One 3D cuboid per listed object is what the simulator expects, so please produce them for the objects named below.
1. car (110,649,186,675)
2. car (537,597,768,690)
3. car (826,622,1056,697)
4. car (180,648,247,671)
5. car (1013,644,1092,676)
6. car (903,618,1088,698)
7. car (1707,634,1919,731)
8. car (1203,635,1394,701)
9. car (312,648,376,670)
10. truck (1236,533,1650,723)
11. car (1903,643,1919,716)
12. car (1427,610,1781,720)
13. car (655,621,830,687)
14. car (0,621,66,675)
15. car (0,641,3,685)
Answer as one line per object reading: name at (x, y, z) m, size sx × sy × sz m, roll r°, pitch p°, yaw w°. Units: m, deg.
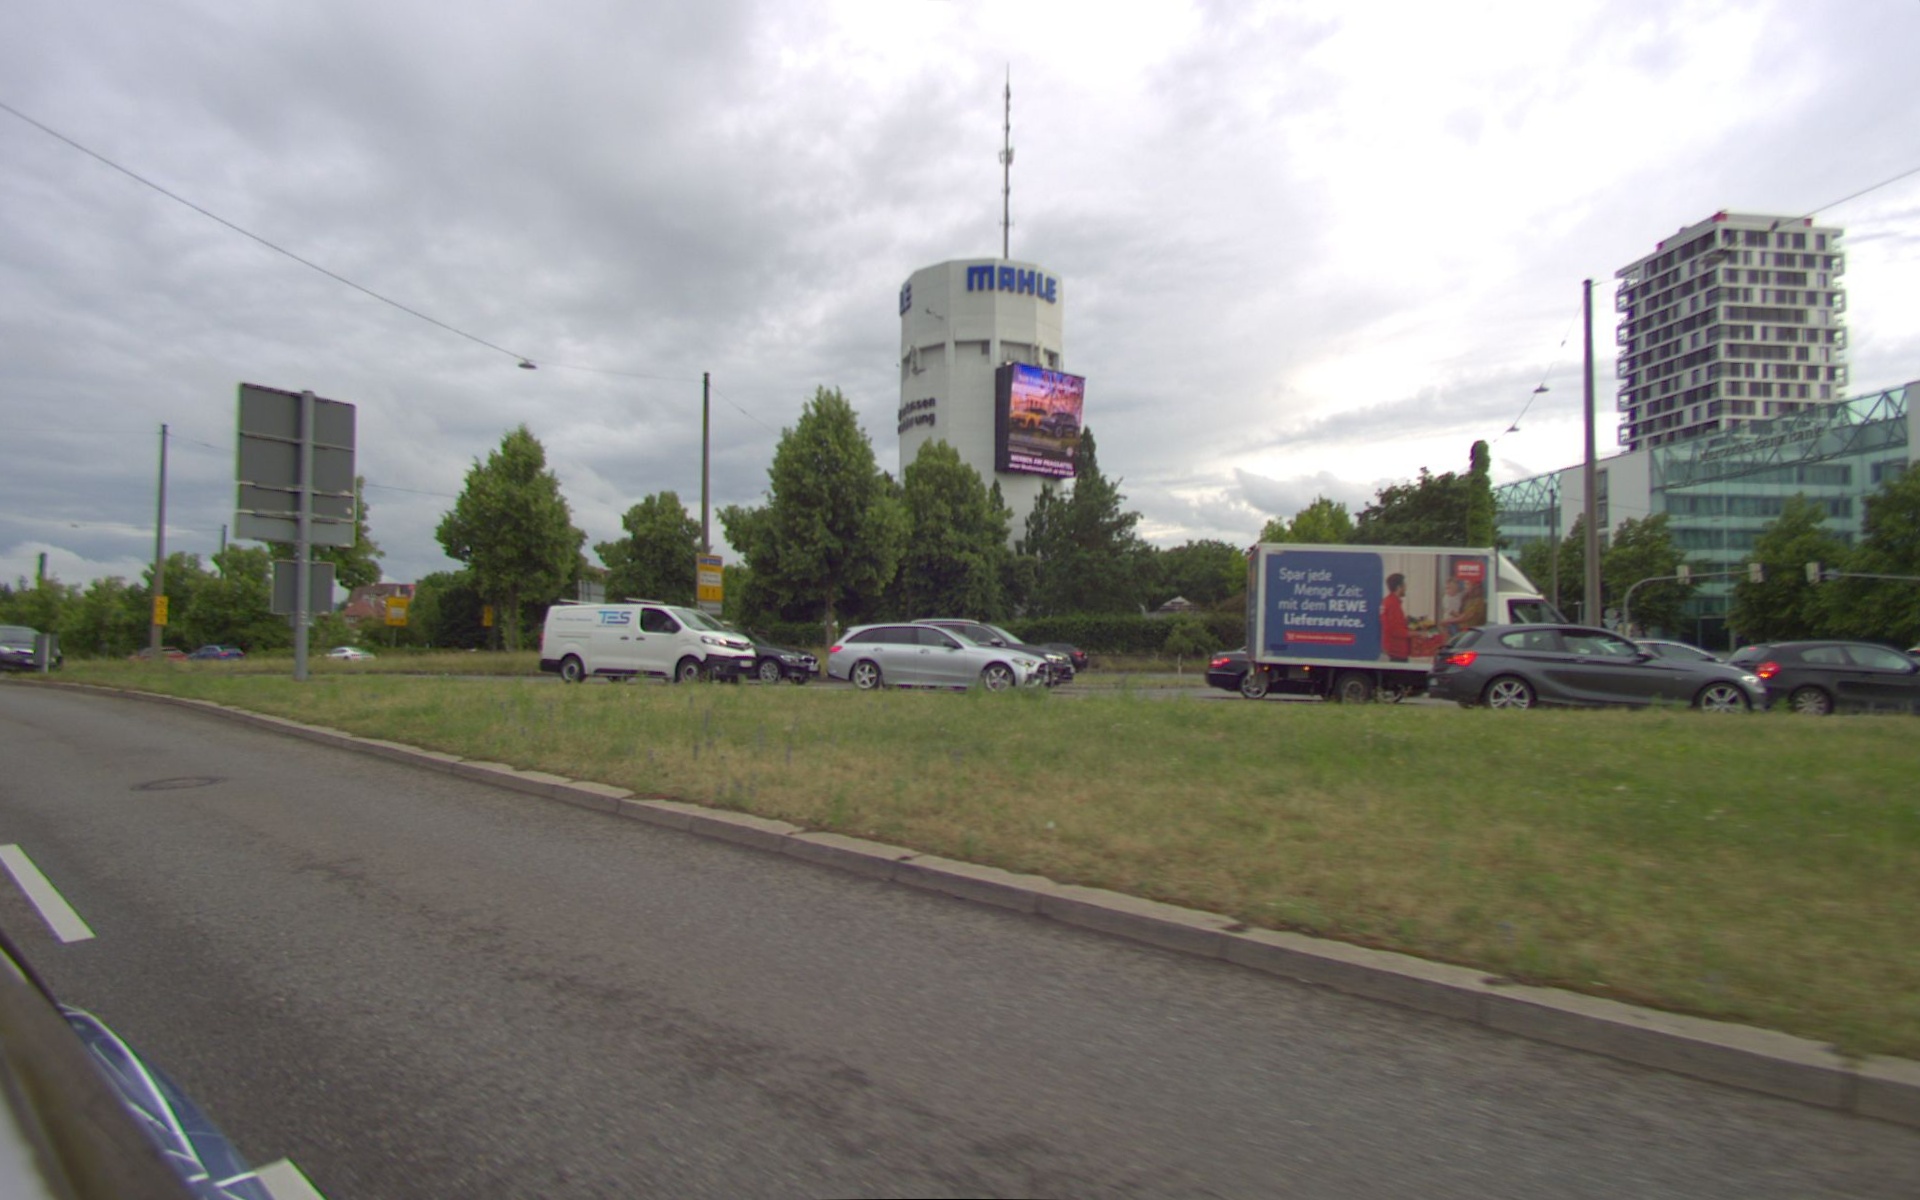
car at (-51.336, 3.925, 63.979) m, size 3.967 × 1.543 × 1.903 m, roll -2°, pitch -3°, yaw 18°
car at (-7.153, 1.023, 23.558) m, size 5.056 × 1.988 × 1.897 m, roll -1°, pitch -4°, yaw 21°
car at (-0.380, 1.254, 21.184) m, size 4.485 × 1.446 × 1.832 m, roll -1°, pitch -4°, yaw 19°
car at (-50.158, 4.008, 68.006) m, size 3.956 × 1.453 × 1.868 m, roll -2°, pitch -3°, yaw 24°
car at (4.691, 3.011, 51.372) m, size 3.708 × 1.586 × 1.722 m, roll -1°, pitch -2°, yaw 22°
car at (0.869, 1.369, 24.194) m, size 4.039 × 1.694 × 1.833 m, roll -3°, pitch 0°, yaw 19°
car at (15.845, 1.393, 17.662) m, size 3.956 × 1.578 × 1.993 m, roll -1°, pitch -2°, yaw 11°
car at (7.408, 1.490, 22.528) m, size 3.828 × 1.383 × 1.753 m, roll -1°, pitch -2°, yaw 13°
car at (-40.877, 3.940, 67.184) m, size 3.955 × 1.403 × 1.653 m, roll -2°, pitch -3°, yaw 23°
truck at (8.753, 0.572, 19.180) m, size 6.477 × 3.244 × 2.666 m, roll -1°, pitch -2°, yaw 10°
car at (21.479, 1.648, 20.144) m, size 3.727 × 1.492 × 1.580 m, roll 1°, pitch -2°, yaw 5°
car at (9.225, 0.953, 14.901) m, size 3.939 × 1.473 × 1.866 m, roll -1°, pitch -3°, yaw 15°
car at (-5.541, 1.383, 25.944) m, size 3.962 × 1.576 × 1.901 m, roll 0°, pitch -4°, yaw 15°
car at (-29.793, 1.535, 31.526) m, size 4.028 × 1.577 × 1.783 m, roll -3°, pitch -2°, yaw 31°
car at (-43.804, 2.832, 43.980) m, size 3.979 × 1.875 × 1.982 m, roll -4°, pitch -4°, yaw 26°
